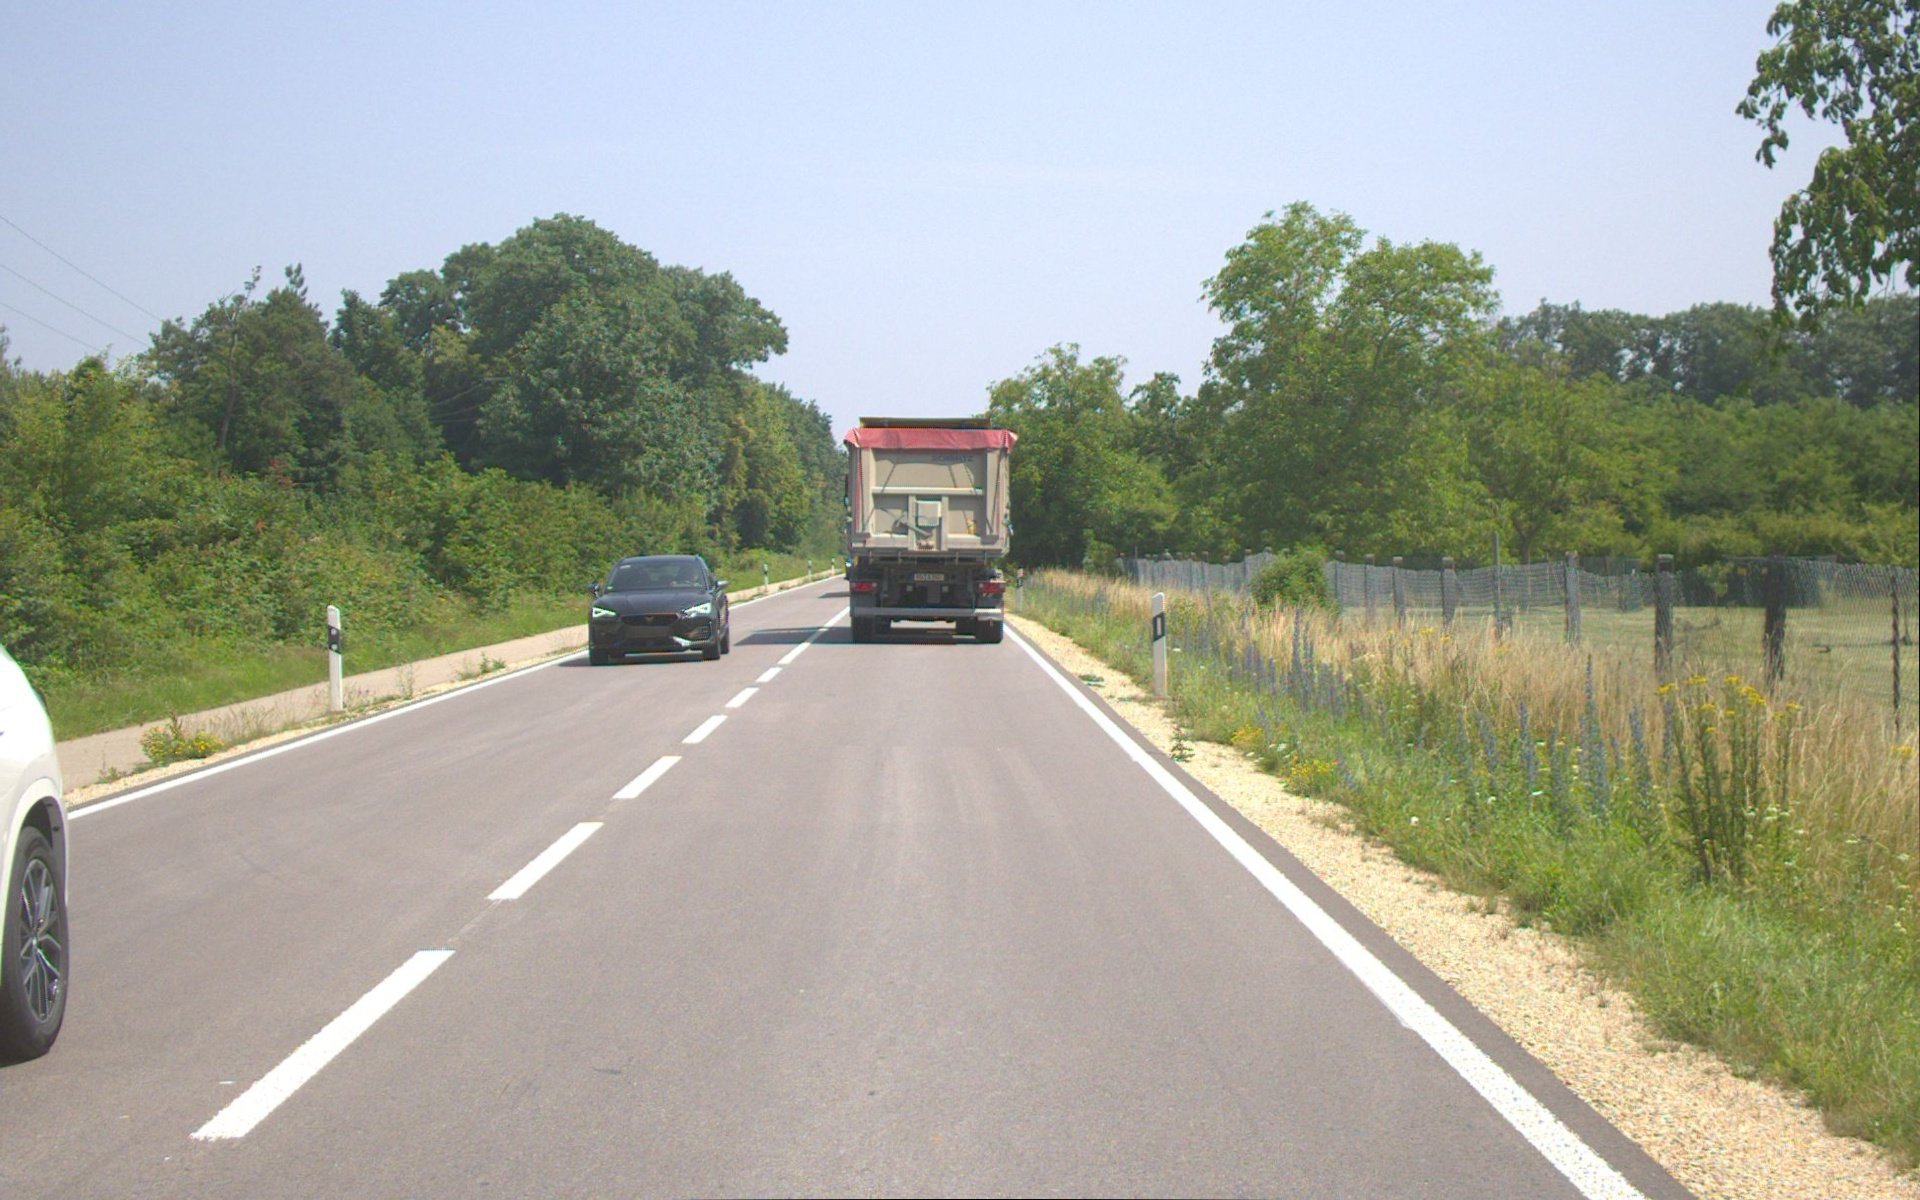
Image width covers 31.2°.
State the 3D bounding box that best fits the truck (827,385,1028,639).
[{"bbox_3d":[-0.594,-1.444,59.615,3.009,3.861,12.210,2,1,-1],"label":"truck"}]

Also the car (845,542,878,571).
[{"bbox_3d":[-5.578,-2.475,195.470,1.758,1.535,4.046,-2,1,-1],"label":"car"}]

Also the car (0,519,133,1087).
[{"bbox_3d":[-3.597,0.610,9.072,1.758,1.601,4.481,-2,1,-1],"label":"car"}]

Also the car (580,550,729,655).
[{"bbox_3d":[-4.247,0.004,48.280,1.758,1.353,4.046,-2,1,-1],"label":"car"}]
